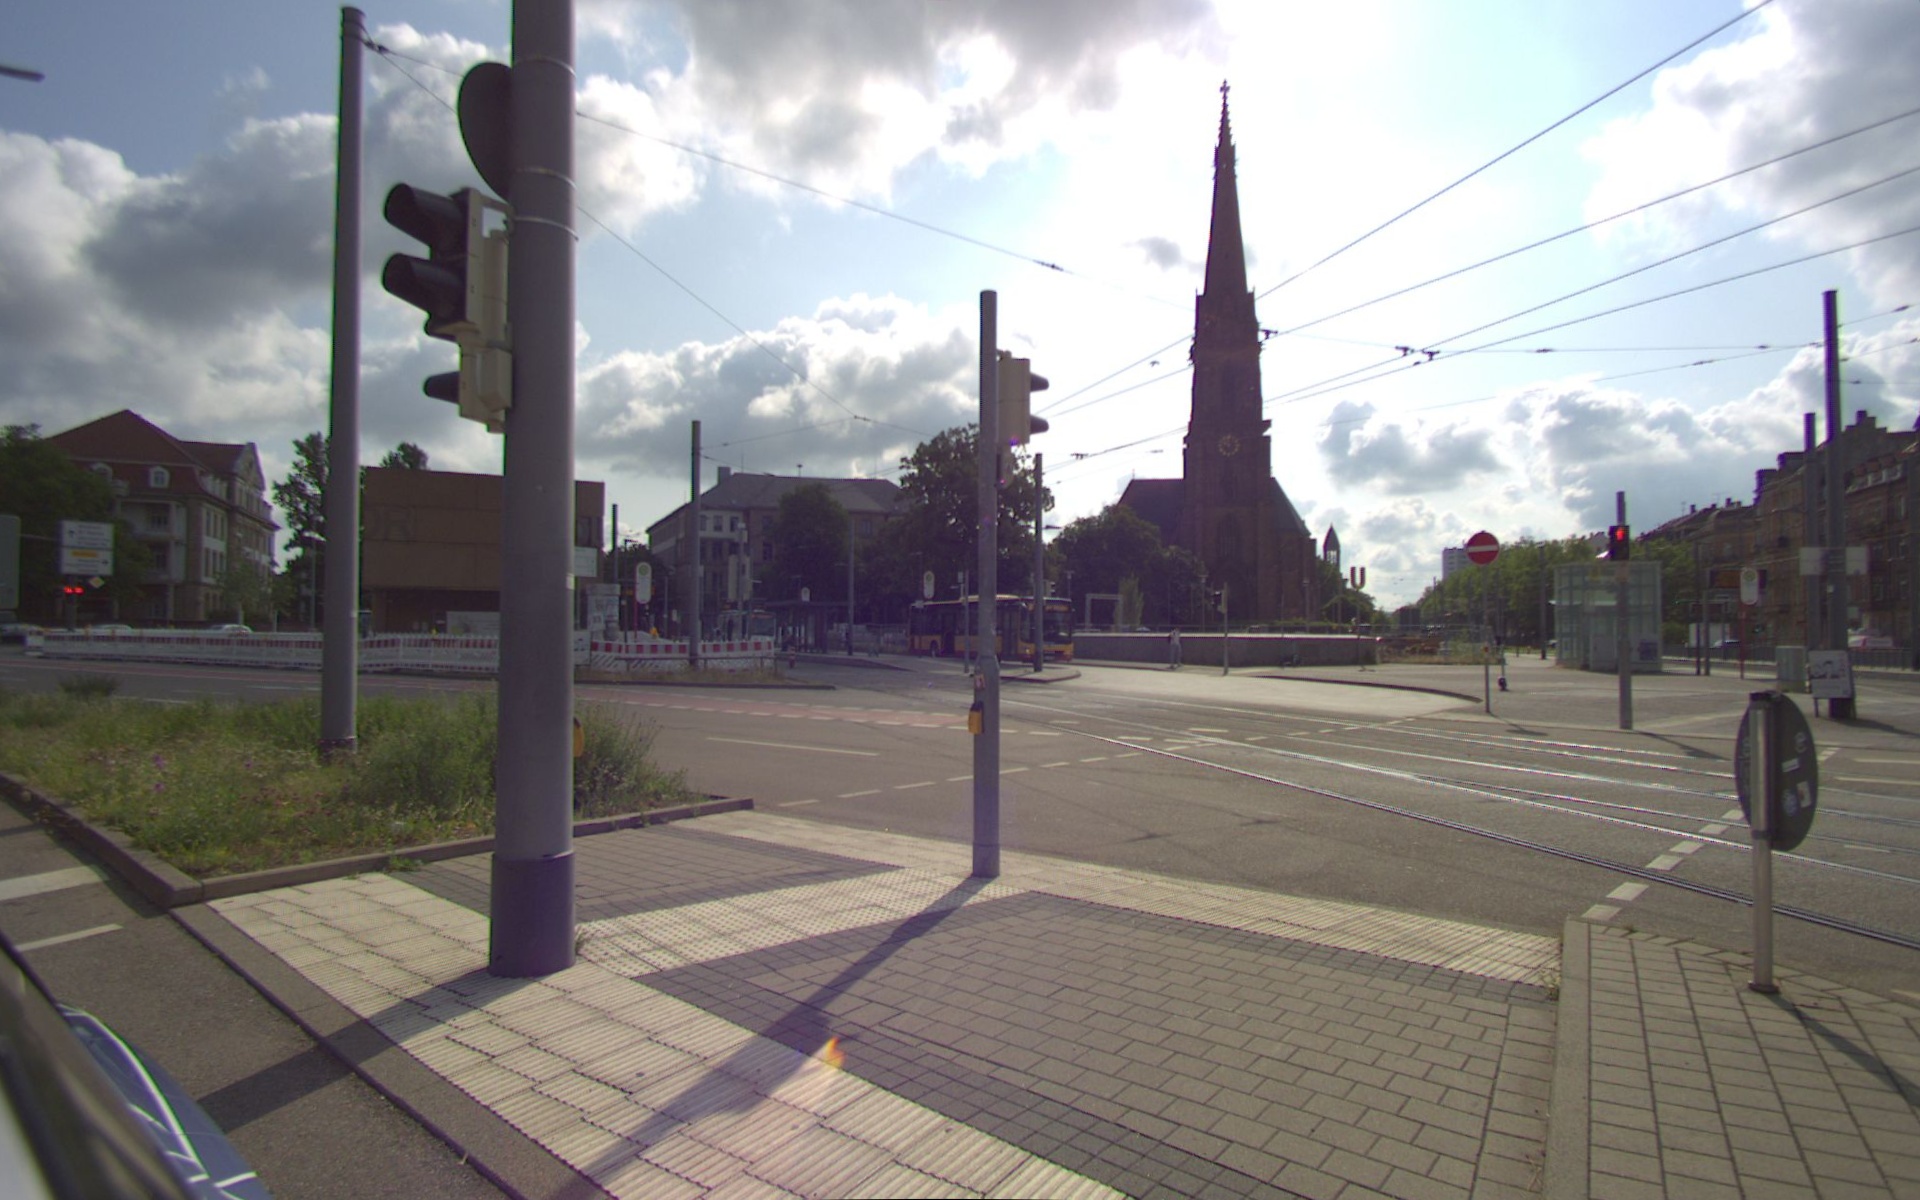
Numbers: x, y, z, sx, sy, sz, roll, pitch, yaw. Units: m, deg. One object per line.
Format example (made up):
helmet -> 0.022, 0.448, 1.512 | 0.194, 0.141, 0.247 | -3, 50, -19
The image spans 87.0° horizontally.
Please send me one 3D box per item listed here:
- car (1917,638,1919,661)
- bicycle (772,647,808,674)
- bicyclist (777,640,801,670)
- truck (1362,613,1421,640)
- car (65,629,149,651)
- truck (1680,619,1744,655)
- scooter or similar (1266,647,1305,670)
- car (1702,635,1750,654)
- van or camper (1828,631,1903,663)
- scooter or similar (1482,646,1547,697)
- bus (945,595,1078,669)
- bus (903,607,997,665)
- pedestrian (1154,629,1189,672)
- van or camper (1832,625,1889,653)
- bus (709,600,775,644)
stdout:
car -> 61.036, 3.225, 62.120 | 1.785, 1.447, 4.312 | -7, 1, 23
bicycle -> -6.791, 2.403, 40.280 | 0.798, 1.000, 2.076 | -1, -2, -27
bicyclist -> -6.811, 2.173, 40.310 | 0.685, 1.161, 0.741 | -1, -2, -27
truck -> 60.360, 3.740, 141.775 | 7.386, 3.676, 2.457 | -1, -2, 18
car -> -56.096, 2.633, 66.656 | 1.739, 1.401, 4.119 | 0, -2, 8
truck -> 74.174, 3.600, 100.007 | 3.159, 3.311, 7.243 | -2, -2, 22
scooter or similar -> 13.654, 2.433, 42.406 | 1.634, 0.957, 0.475 | 1, -2, -24
car -> 63.386, 3.680, 83.788 | 1.985, 1.519, 3.974 | -1, -2, 19
van or camper -> 60.415, 3.095, 67.617 | 1.998, 1.929, 4.498 | -1, 0, 17
scooter or similar -> 14.415, 1.835, 26.364 | 1.330, 1.198, 1.483 | -1, 0, 23
bus -> 2.012, 1.371, 42.986 | 2.653, 2.855, 7.123 | 1, -2, -25
bus -> -0.559, 1.719, 48.548 | 2.655, 2.607, 5.094 | 1, -2, -25
pedestrian -> 9.138, 2.178, 43.680 | 0.914, 1.701, 1.101 | -5, 4, -27
van or camper -> 82.511, 3.537, 92.828 | 1.986, 2.493, 5.525 | -1, -2, 21
bus -> -19.010, 1.809, 87.611 | 2.913, 3.534, 12.294 | 0, 0, -25
